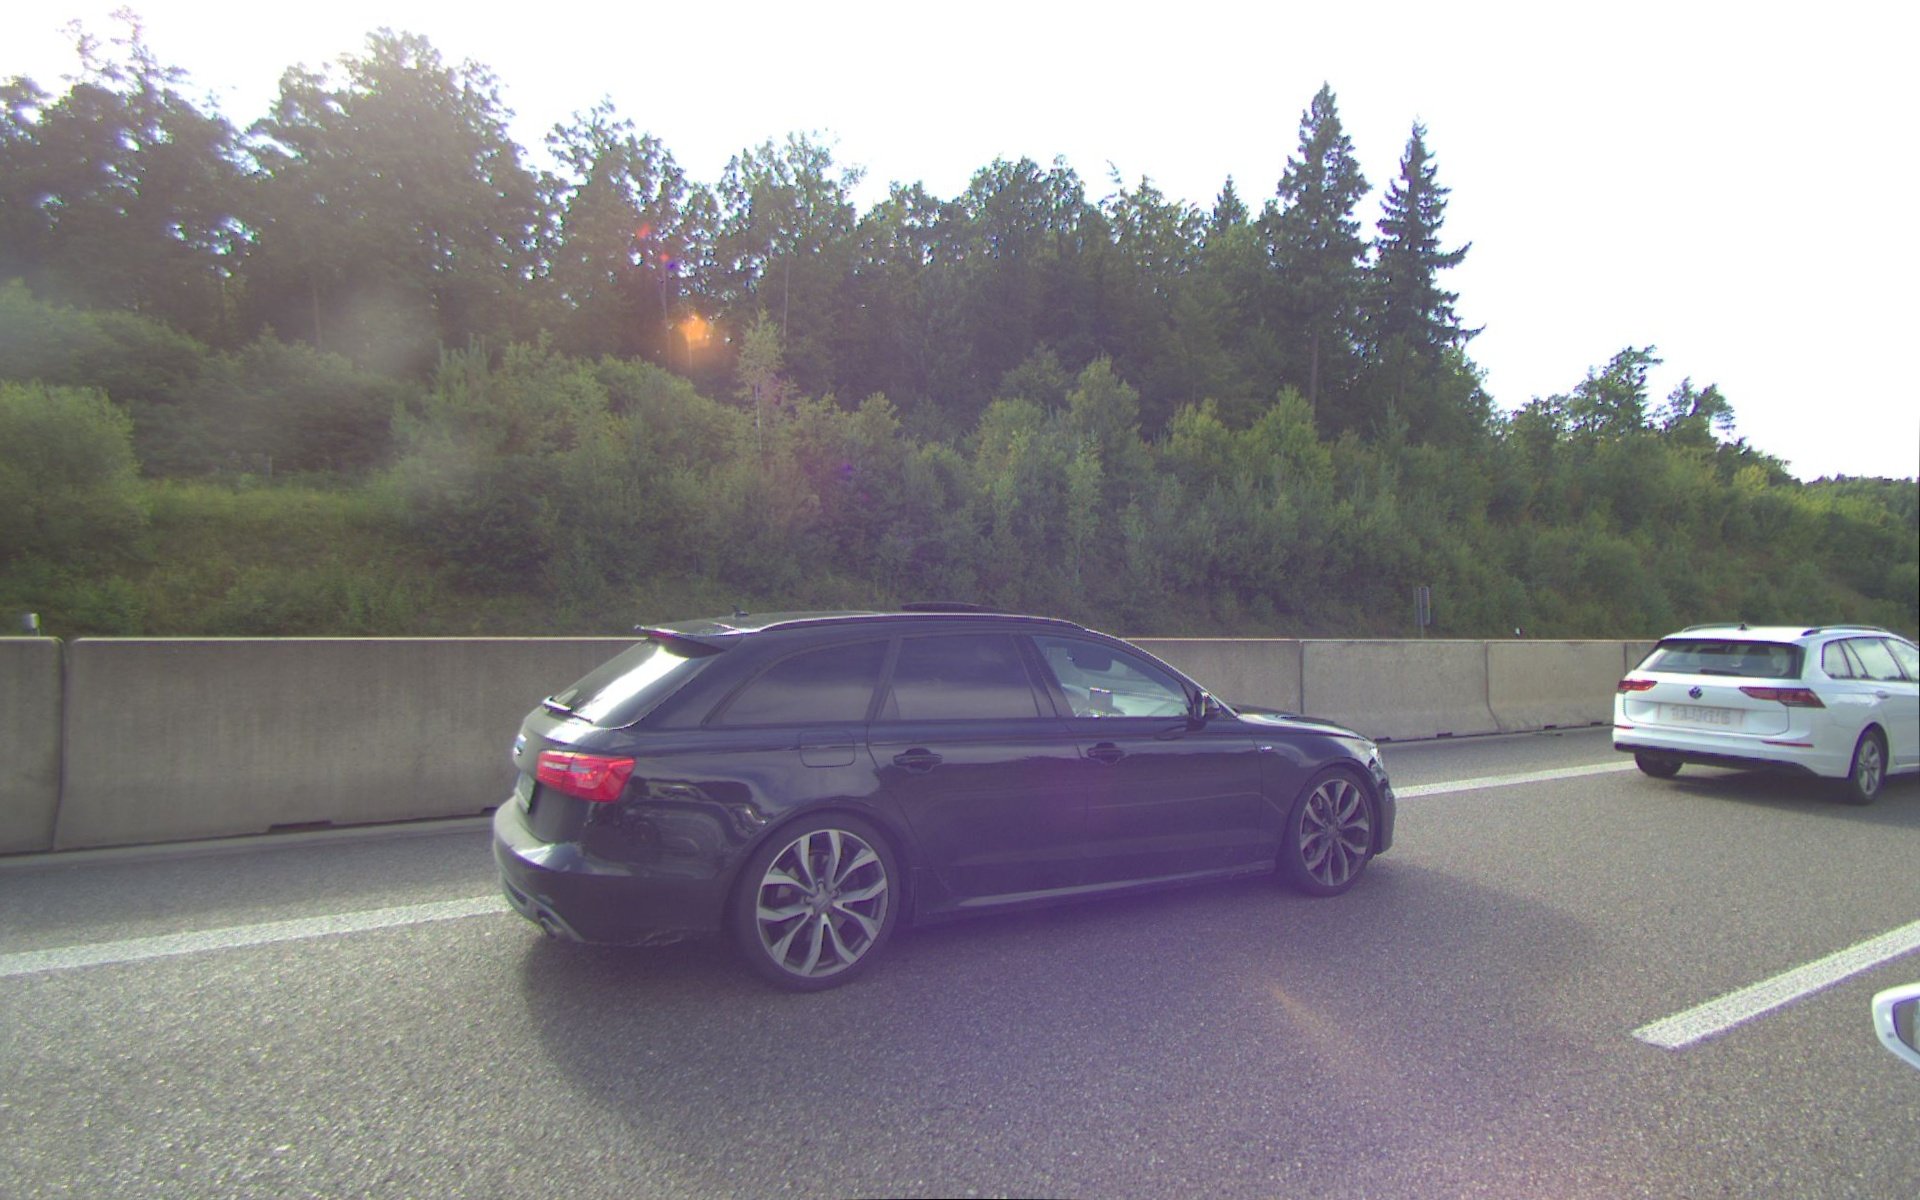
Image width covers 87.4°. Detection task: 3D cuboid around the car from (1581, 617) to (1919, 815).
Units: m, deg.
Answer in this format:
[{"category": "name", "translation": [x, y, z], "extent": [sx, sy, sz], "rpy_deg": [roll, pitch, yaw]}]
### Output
[{"category": "car", "translation": [8.007, 0.962, 9.508], "extent": [4.257, 1.480, 1.796], "rpy_deg": [2, -1, -30]}]

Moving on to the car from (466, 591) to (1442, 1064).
[{"category": "car", "translation": [0.156, 0.751, 5.120], "extent": [4.692, 1.475, 1.834], "rpy_deg": [1, 0, -30]}]
